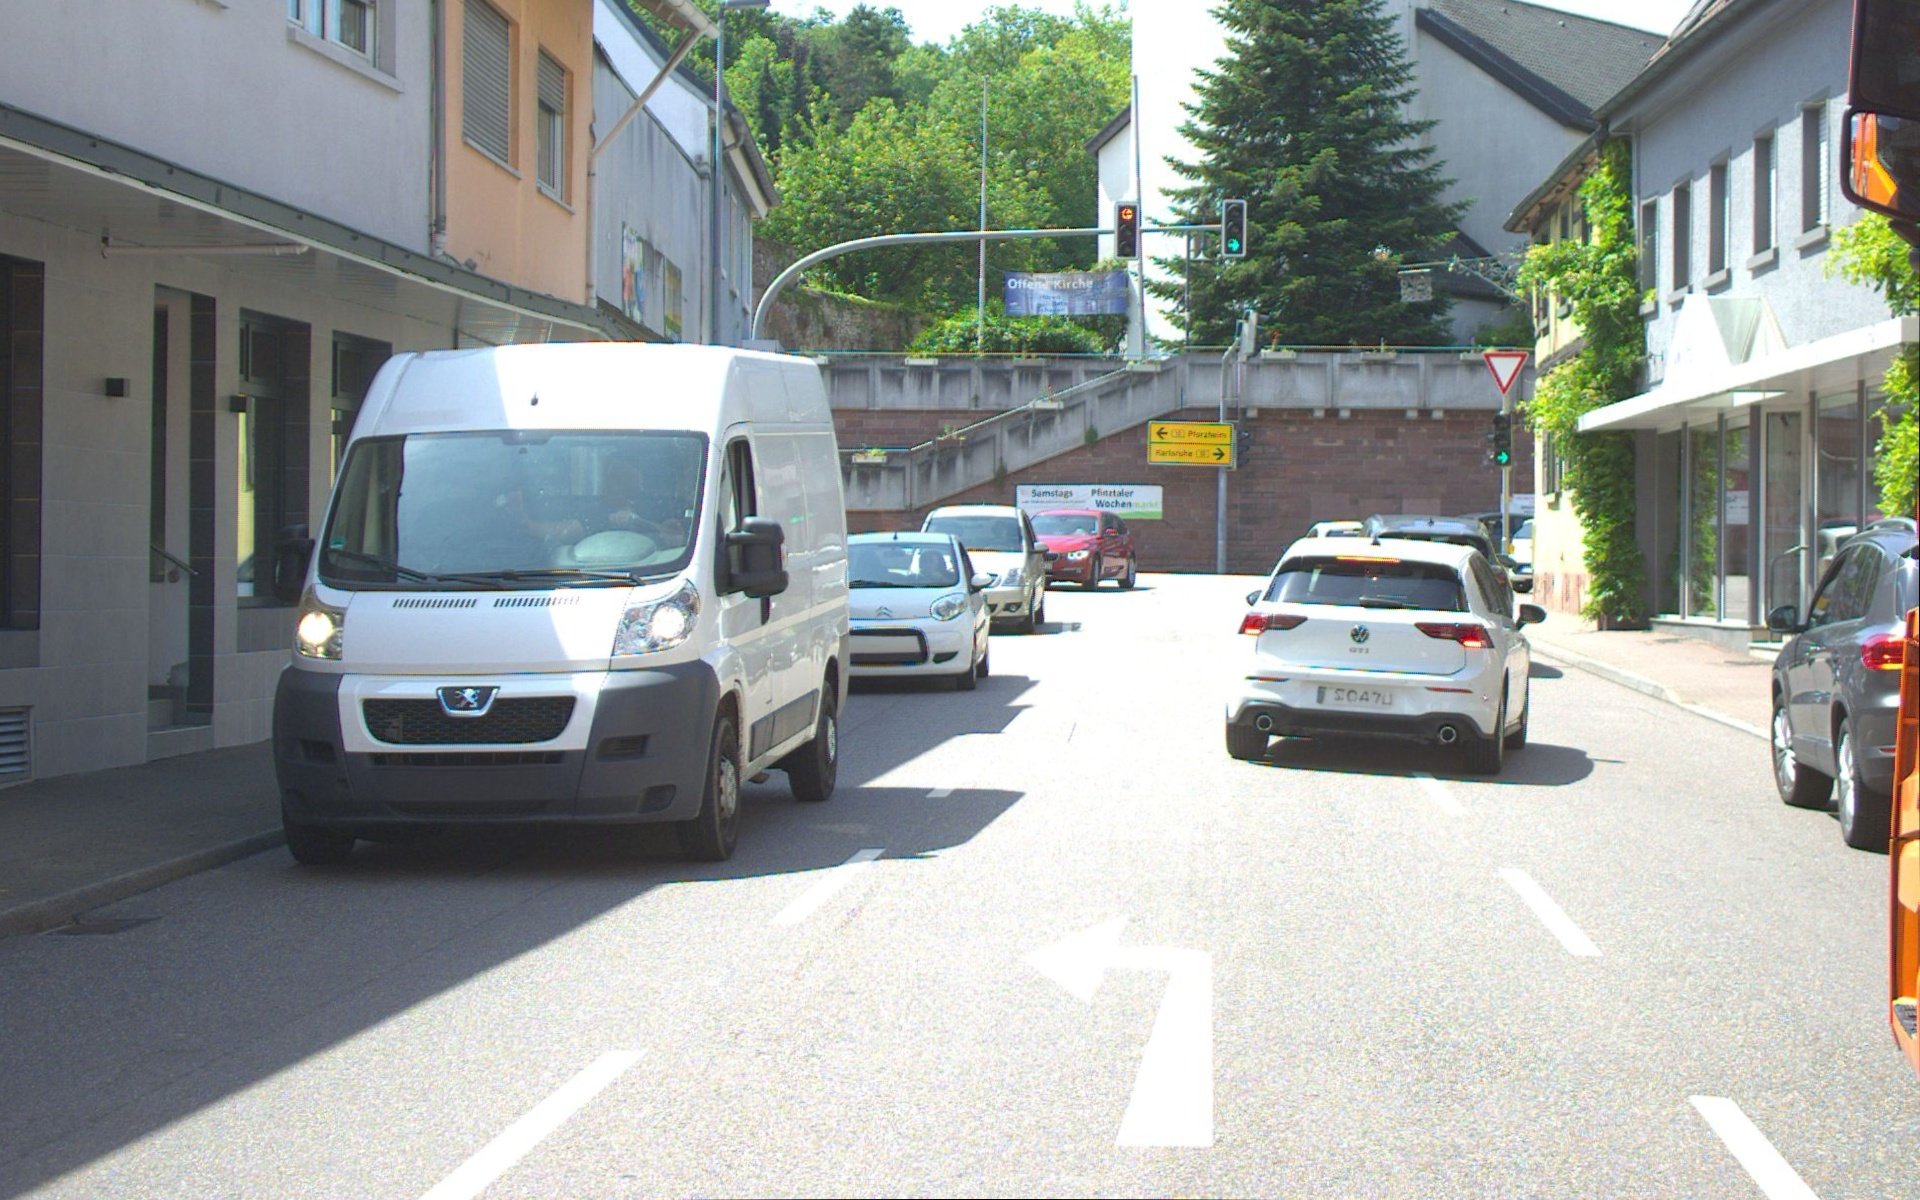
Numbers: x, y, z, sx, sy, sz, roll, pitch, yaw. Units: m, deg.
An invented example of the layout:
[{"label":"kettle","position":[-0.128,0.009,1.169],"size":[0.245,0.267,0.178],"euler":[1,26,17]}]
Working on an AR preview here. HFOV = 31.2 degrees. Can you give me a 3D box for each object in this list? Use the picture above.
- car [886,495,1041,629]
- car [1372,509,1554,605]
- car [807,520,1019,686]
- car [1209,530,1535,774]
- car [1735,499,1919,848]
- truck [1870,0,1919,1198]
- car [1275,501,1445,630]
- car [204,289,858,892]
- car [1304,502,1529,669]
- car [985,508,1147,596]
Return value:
[{"label":"car","position":[0.091,-0.533,45.071],"size":[1.679,1.611,3.821],"euler":[-1,2,5]},{"label":"car","position":[9.415,-0.833,64.100],"size":[1.952,1.577,4.319],"euler":[3,4,28]},{"label":"car","position":[-0.392,-0.004,32.562],"size":[1.597,1.450,3.447],"euler":[-1,1,6]},{"label":"car","position":[2.831,0.277,22.963],"size":[1.783,1.453,3.861],"euler":[1,1,12]},{"label":"car","position":[5.483,0.303,18.782],"size":[1.994,1.703,4.100],"euler":[-1,1,7]},{"label":"truck","position":[3.135,-0.465,3.705],"size":[2.609,3.932,9.990],"euler":[1,1,6]},{"label":"car","position":[5.575,-0.523,48.383],"size":[1.949,1.577,4.326],"euler":[1,3,1]},{"label":"car","position":[-1.926,-0.094,17.434],"size":[2.140,2.560,5.393],"euler":[-1,1,5]},{"label":"car","position":[4.927,-0.211,37.651],"size":[1.949,1.577,4.326],"euler":[1,3,1]},{"label":"car","position":[1.938,-0.882,61.562],"size":[1.719,1.404,4.281],"euler":[-1,2,19]}]
